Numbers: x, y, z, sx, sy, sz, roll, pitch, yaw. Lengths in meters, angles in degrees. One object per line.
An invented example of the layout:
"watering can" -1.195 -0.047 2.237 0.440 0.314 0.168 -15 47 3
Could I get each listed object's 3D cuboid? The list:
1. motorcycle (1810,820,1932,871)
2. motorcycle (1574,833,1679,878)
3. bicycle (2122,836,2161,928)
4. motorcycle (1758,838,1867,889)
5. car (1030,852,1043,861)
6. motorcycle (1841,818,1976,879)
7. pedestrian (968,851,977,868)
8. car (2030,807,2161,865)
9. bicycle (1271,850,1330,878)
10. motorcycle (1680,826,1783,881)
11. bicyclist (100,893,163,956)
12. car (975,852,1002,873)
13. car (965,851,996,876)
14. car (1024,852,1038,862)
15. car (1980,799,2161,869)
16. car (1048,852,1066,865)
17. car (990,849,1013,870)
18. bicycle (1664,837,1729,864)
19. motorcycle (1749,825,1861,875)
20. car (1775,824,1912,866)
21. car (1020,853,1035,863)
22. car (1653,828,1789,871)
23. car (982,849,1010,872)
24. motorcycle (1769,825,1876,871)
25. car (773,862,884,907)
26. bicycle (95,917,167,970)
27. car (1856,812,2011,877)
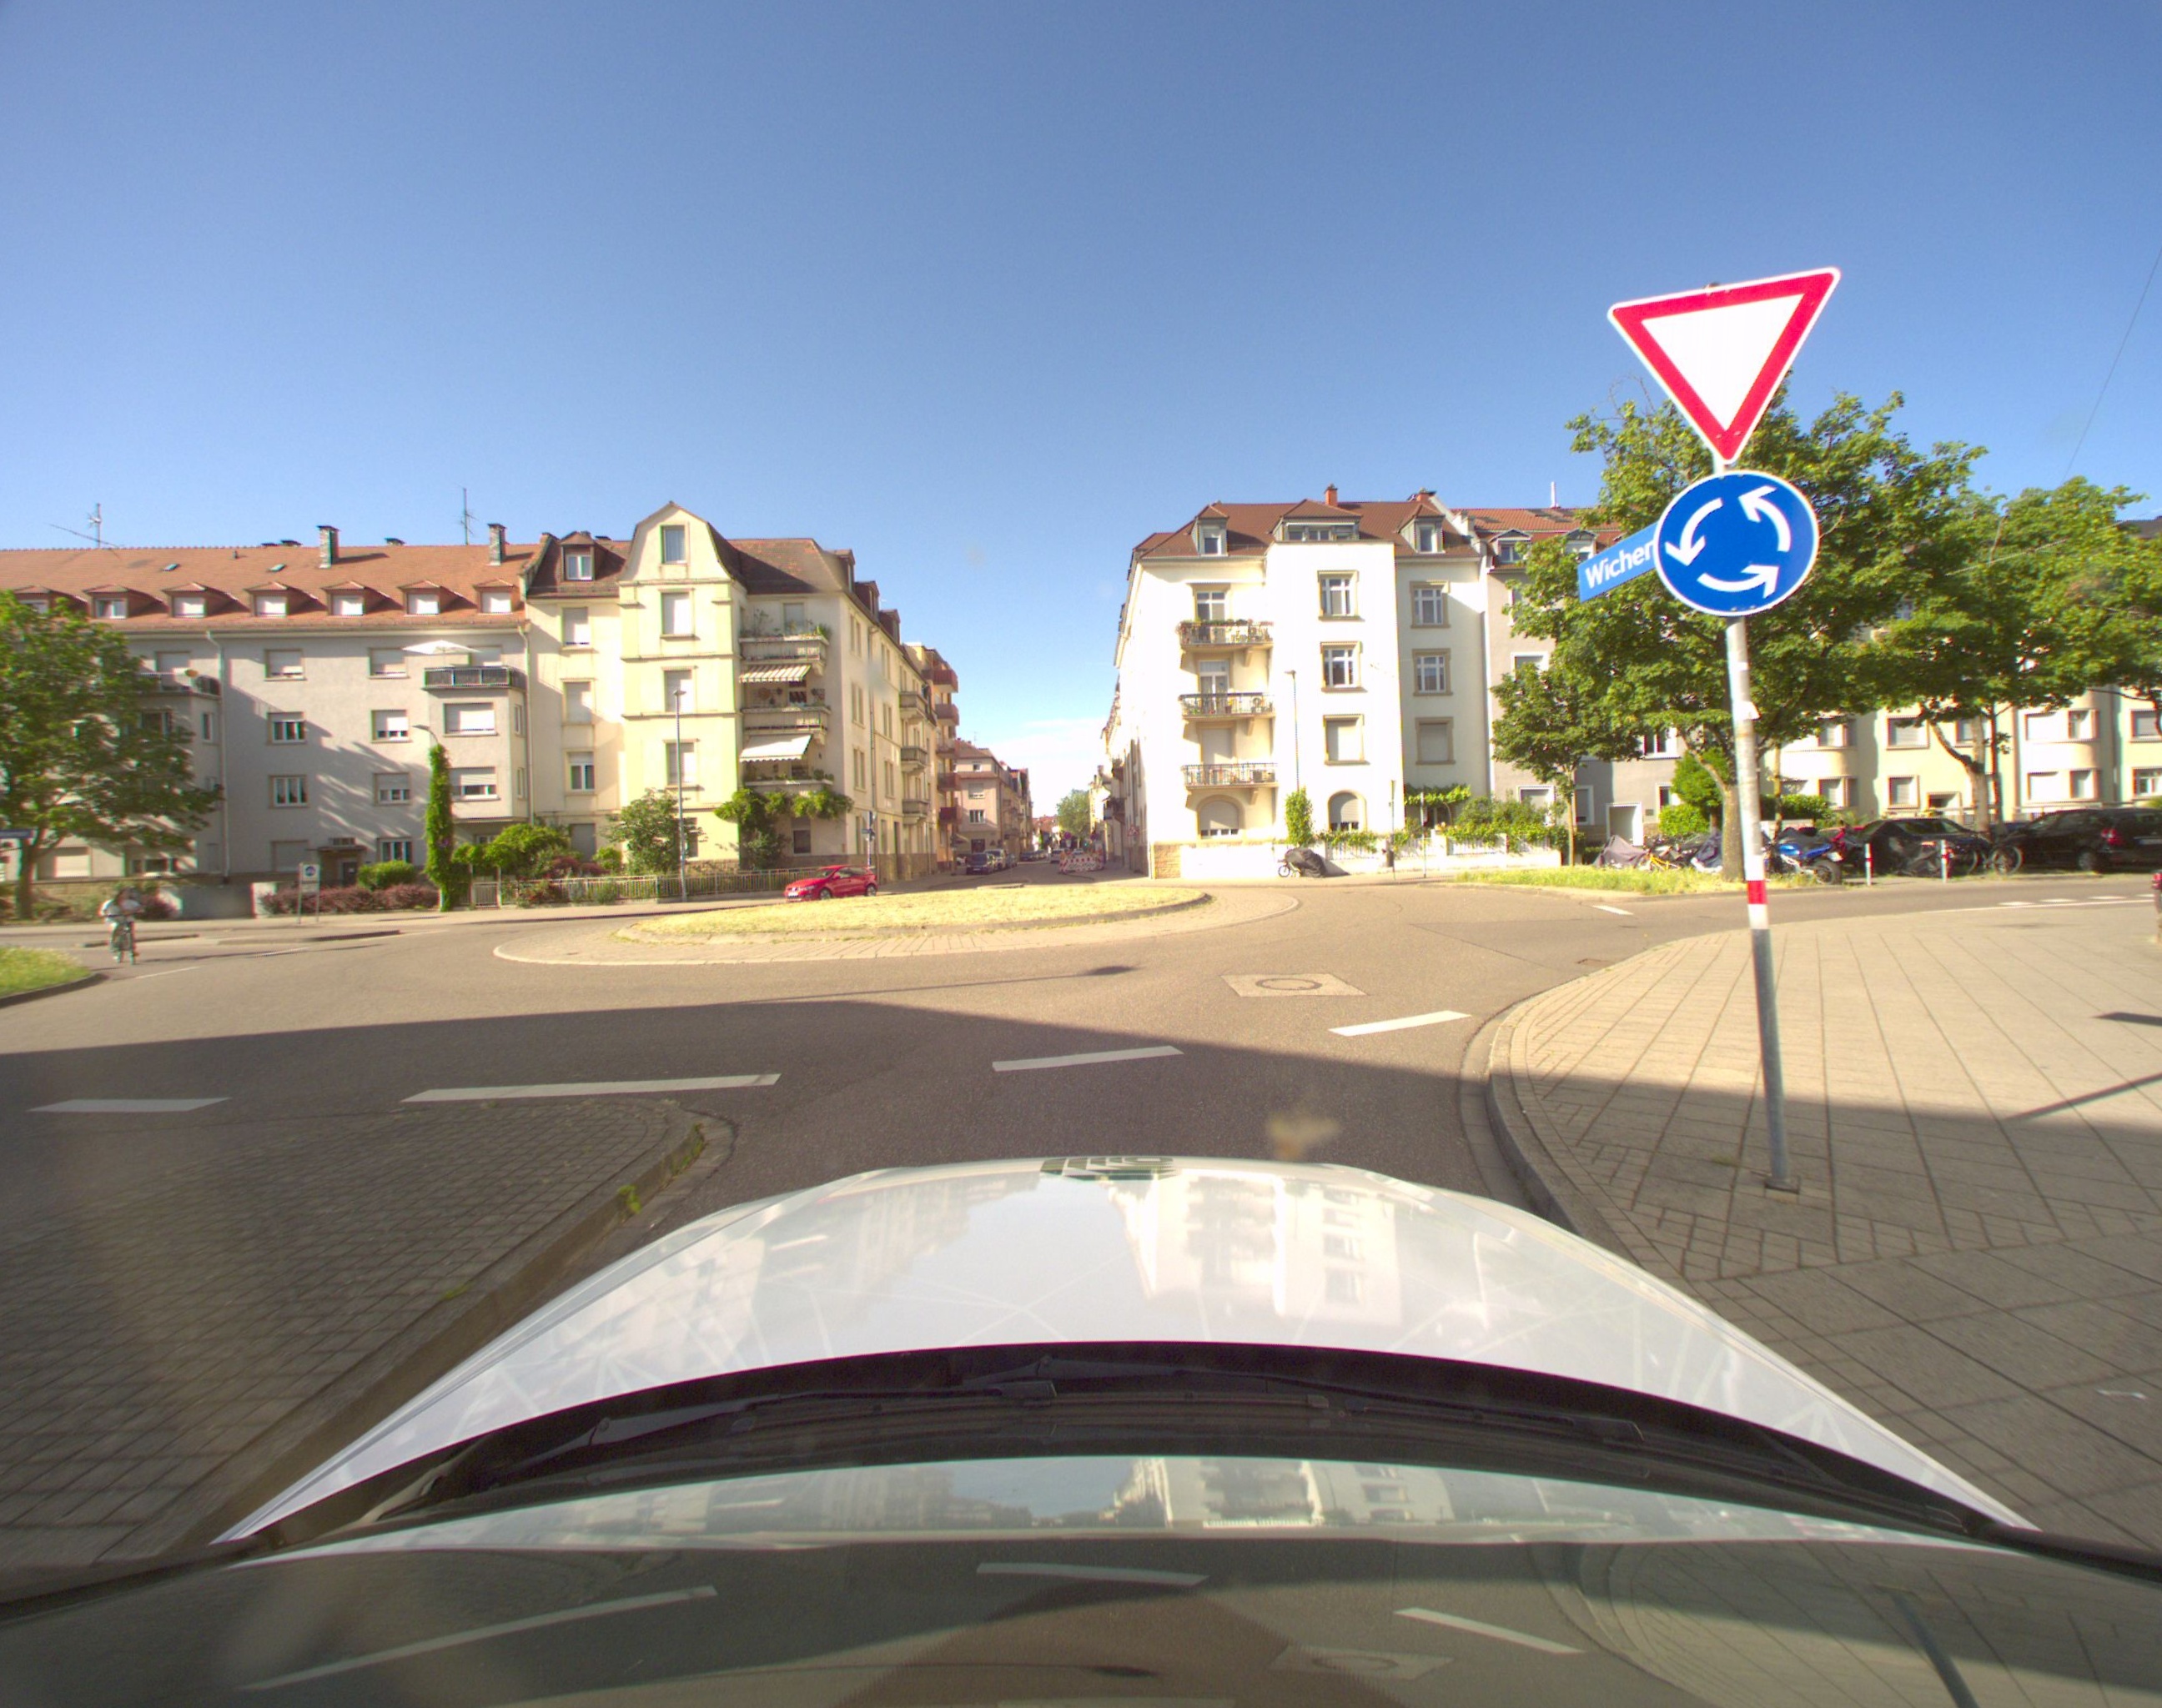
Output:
"motorcycle" 21.222 -0.226 21.973 1.046 1.267 2.240 -2 0 -2
"motorcycle" 16.681 0.048 25.039 1.122 1.267 2.777 -2 0 -7
"bicycle" 13.517 0.309 9.819 1.619 1.079 0.383 -2 -2 -8
"motorcycle" 16.820 0.187 18.780 0.809 1.072 1.844 -2 1 -2
"car" -7.834 0.509 143.424 1.973 1.482 4.325 0 -1 -1
"motorcycle" 20.224 -0.129 19.980 1.057 1.392 2.124 -2 0 -4
"pedestrian" -12.209 0.618 91.531 0.922 1.817 0.993 -1 0 -4
"car" 30.974 -0.537 24.370 1.686 1.591 4.022 -2 0 23
"bicycle" 9.149 0.416 34.014 2.257 1.157 0.771 -1 0 42
"motorcycle" 16.686 -0.012 20.963 0.859 1.328 2.050 -2 0 -5
"bicyclist" -21.305 1.557 18.276 0.815 1.312 0.816 -1 0 35
"car" -7.504 0.701 66.578 1.757 1.621 4.293 -1 0 -1
"car" -7.504 0.652 60.999 1.757 1.771 4.293 -1 0 -1
"car" -7.831 0.518 127.154 1.998 1.582 4.485 0 -1 -1
"car" 25.657 -0.495 20.652 1.978 1.598 4.017 -2 0 16
"car" -2.864 0.523 97.980 1.832 1.431 4.028 -3 -1 0
"car" -7.618 0.473 78.551 1.757 1.925 4.933 -1 0 -1
"bicycle" 26.274 -0.135 34.799 2.242 1.059 0.683 -2 0 0
"motorcycle" 20.023 -0.110 22.617 1.046 1.267 2.240 -2 0 -2
"car" 29.483 -0.338 31.550 3.835 1.445 1.750 -2 1 -5
"car" -7.617 0.582 116.678 1.673 1.426 4.275 0 -1 1
"car" 24.464 -0.144 31.190 3.936 1.445 1.750 -2 -2 -5
"car" -7.500 0.540 72.090 1.969 1.925 5.307 -1 0 -1
"motorcycle" 21.999 -0.164 24.240 1.046 1.267 2.240 -2 0 -2
"car" -9.820 1.159 31.948 1.695 1.382 4.026 -3 1 29
"bicycle" -21.391 1.989 18.328 2.182 1.014 0.816 -1 0 35
"car" 24.170 -0.264 23.273 1.781 1.640 3.900 -2 0 26
